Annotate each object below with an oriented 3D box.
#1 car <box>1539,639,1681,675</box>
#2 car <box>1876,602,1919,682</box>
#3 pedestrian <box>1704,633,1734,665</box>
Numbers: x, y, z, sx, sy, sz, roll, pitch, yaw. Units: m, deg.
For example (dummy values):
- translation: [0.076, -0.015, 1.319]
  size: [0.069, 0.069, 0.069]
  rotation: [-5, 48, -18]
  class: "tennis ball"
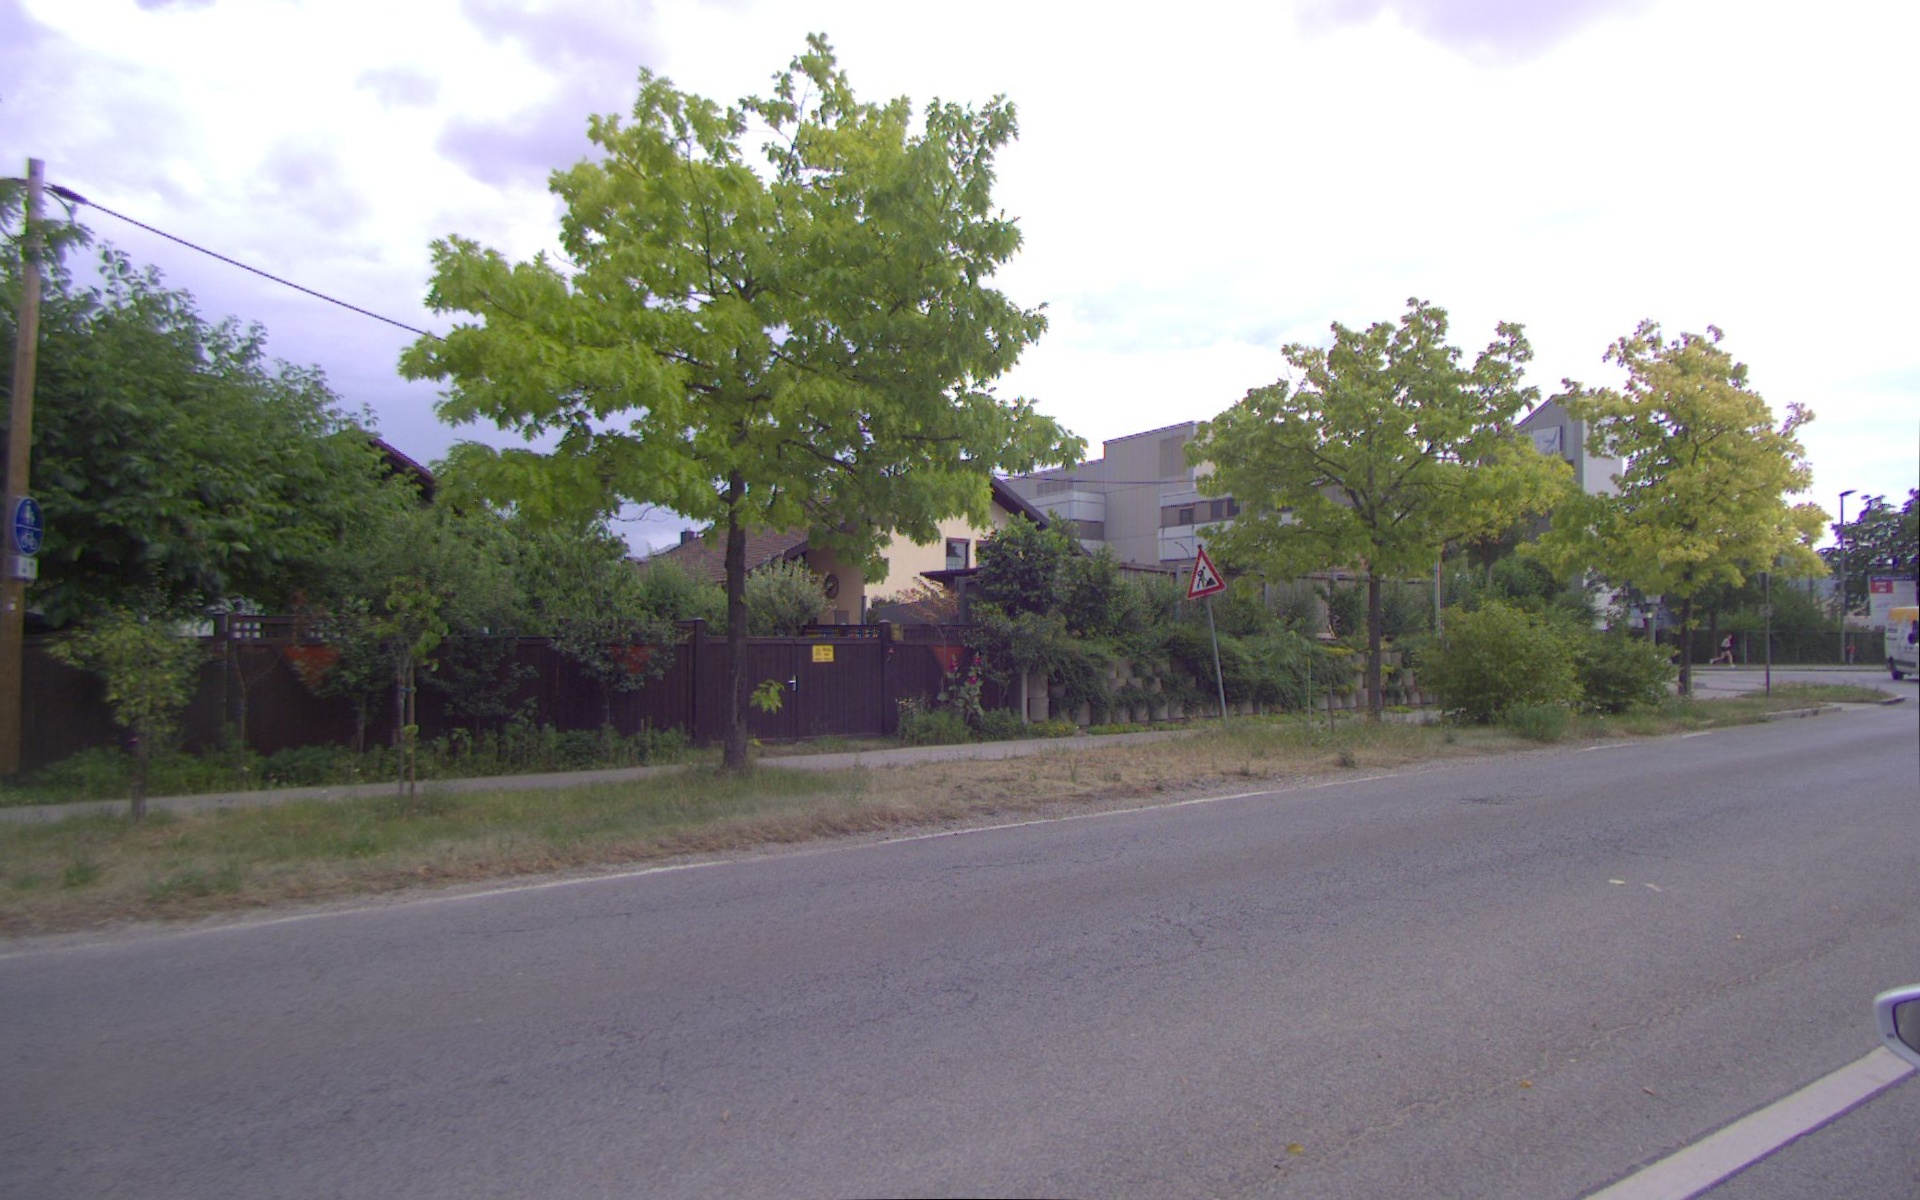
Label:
- translation: [26.242, 2.284, 40.695]
  size: [1.914, 1.365, 4.434]
  rotation: [1, -2, -31]
  class: "car"
- translation: [32.174, 1.342, 32.942]
  size: [2.132, 2.484, 5.429]
  rotation: [-1, -2, 32]
  class: "car"
- translation: [36.360, 2.345, 48.123]
  size: [0.930, 1.487, 0.633]
  rotation: [-1, -2, 14]
  class: "pedestrian"
